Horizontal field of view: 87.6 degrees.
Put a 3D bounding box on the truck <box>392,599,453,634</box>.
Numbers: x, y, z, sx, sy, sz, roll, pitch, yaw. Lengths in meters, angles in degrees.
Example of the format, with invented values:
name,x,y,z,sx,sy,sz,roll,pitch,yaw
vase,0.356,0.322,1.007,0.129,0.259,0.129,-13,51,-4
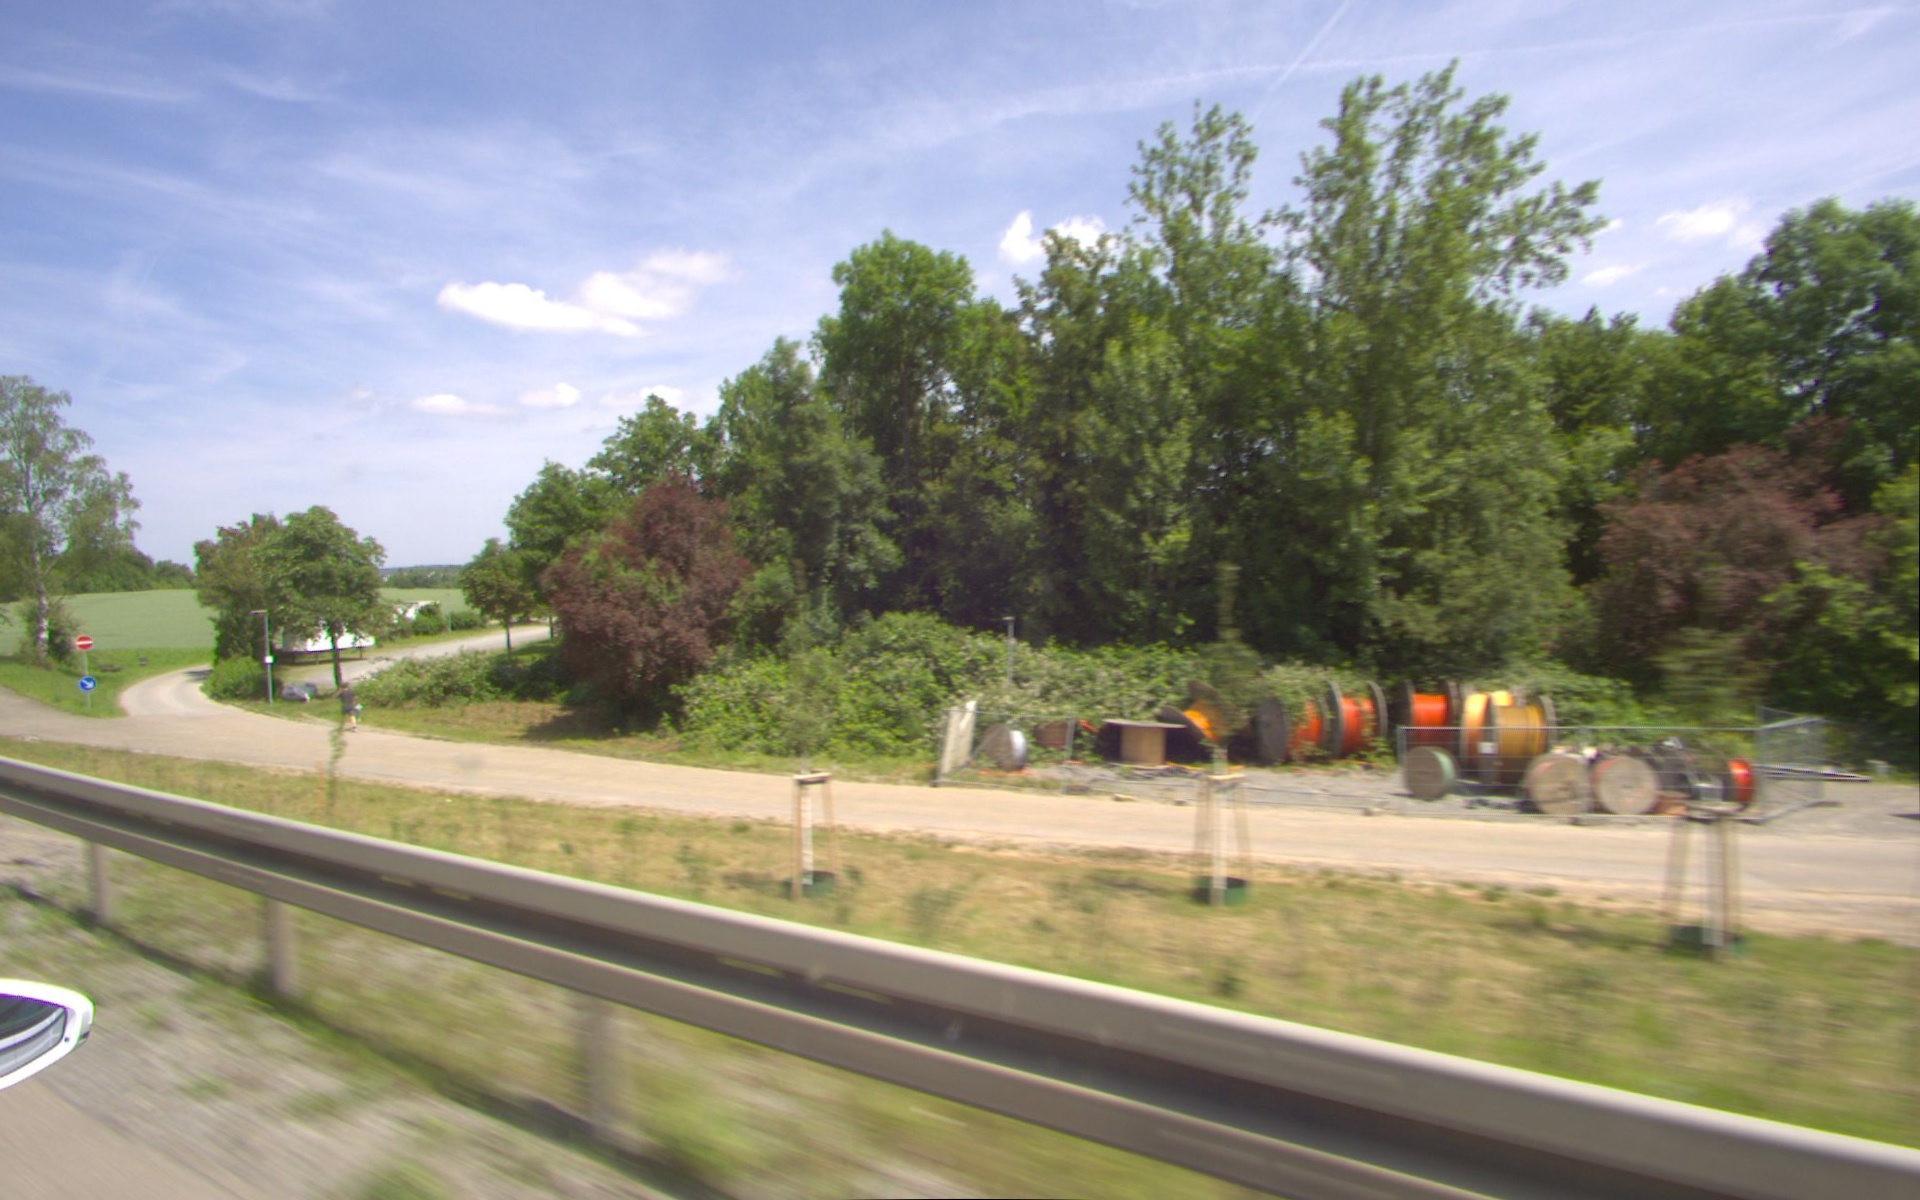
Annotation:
name,x,y,z,sx,sy,sz,roll,pitch,yaw
truck,-59.969,1.784,111.866,3.091,3.584,7.135,-2,1,-3

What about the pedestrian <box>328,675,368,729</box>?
name,x,y,z,sx,sy,sz,roll,pitch,yaw
pedestrian,-22.562,3.736,36.915,0.946,1.836,0.882,0,3,33
